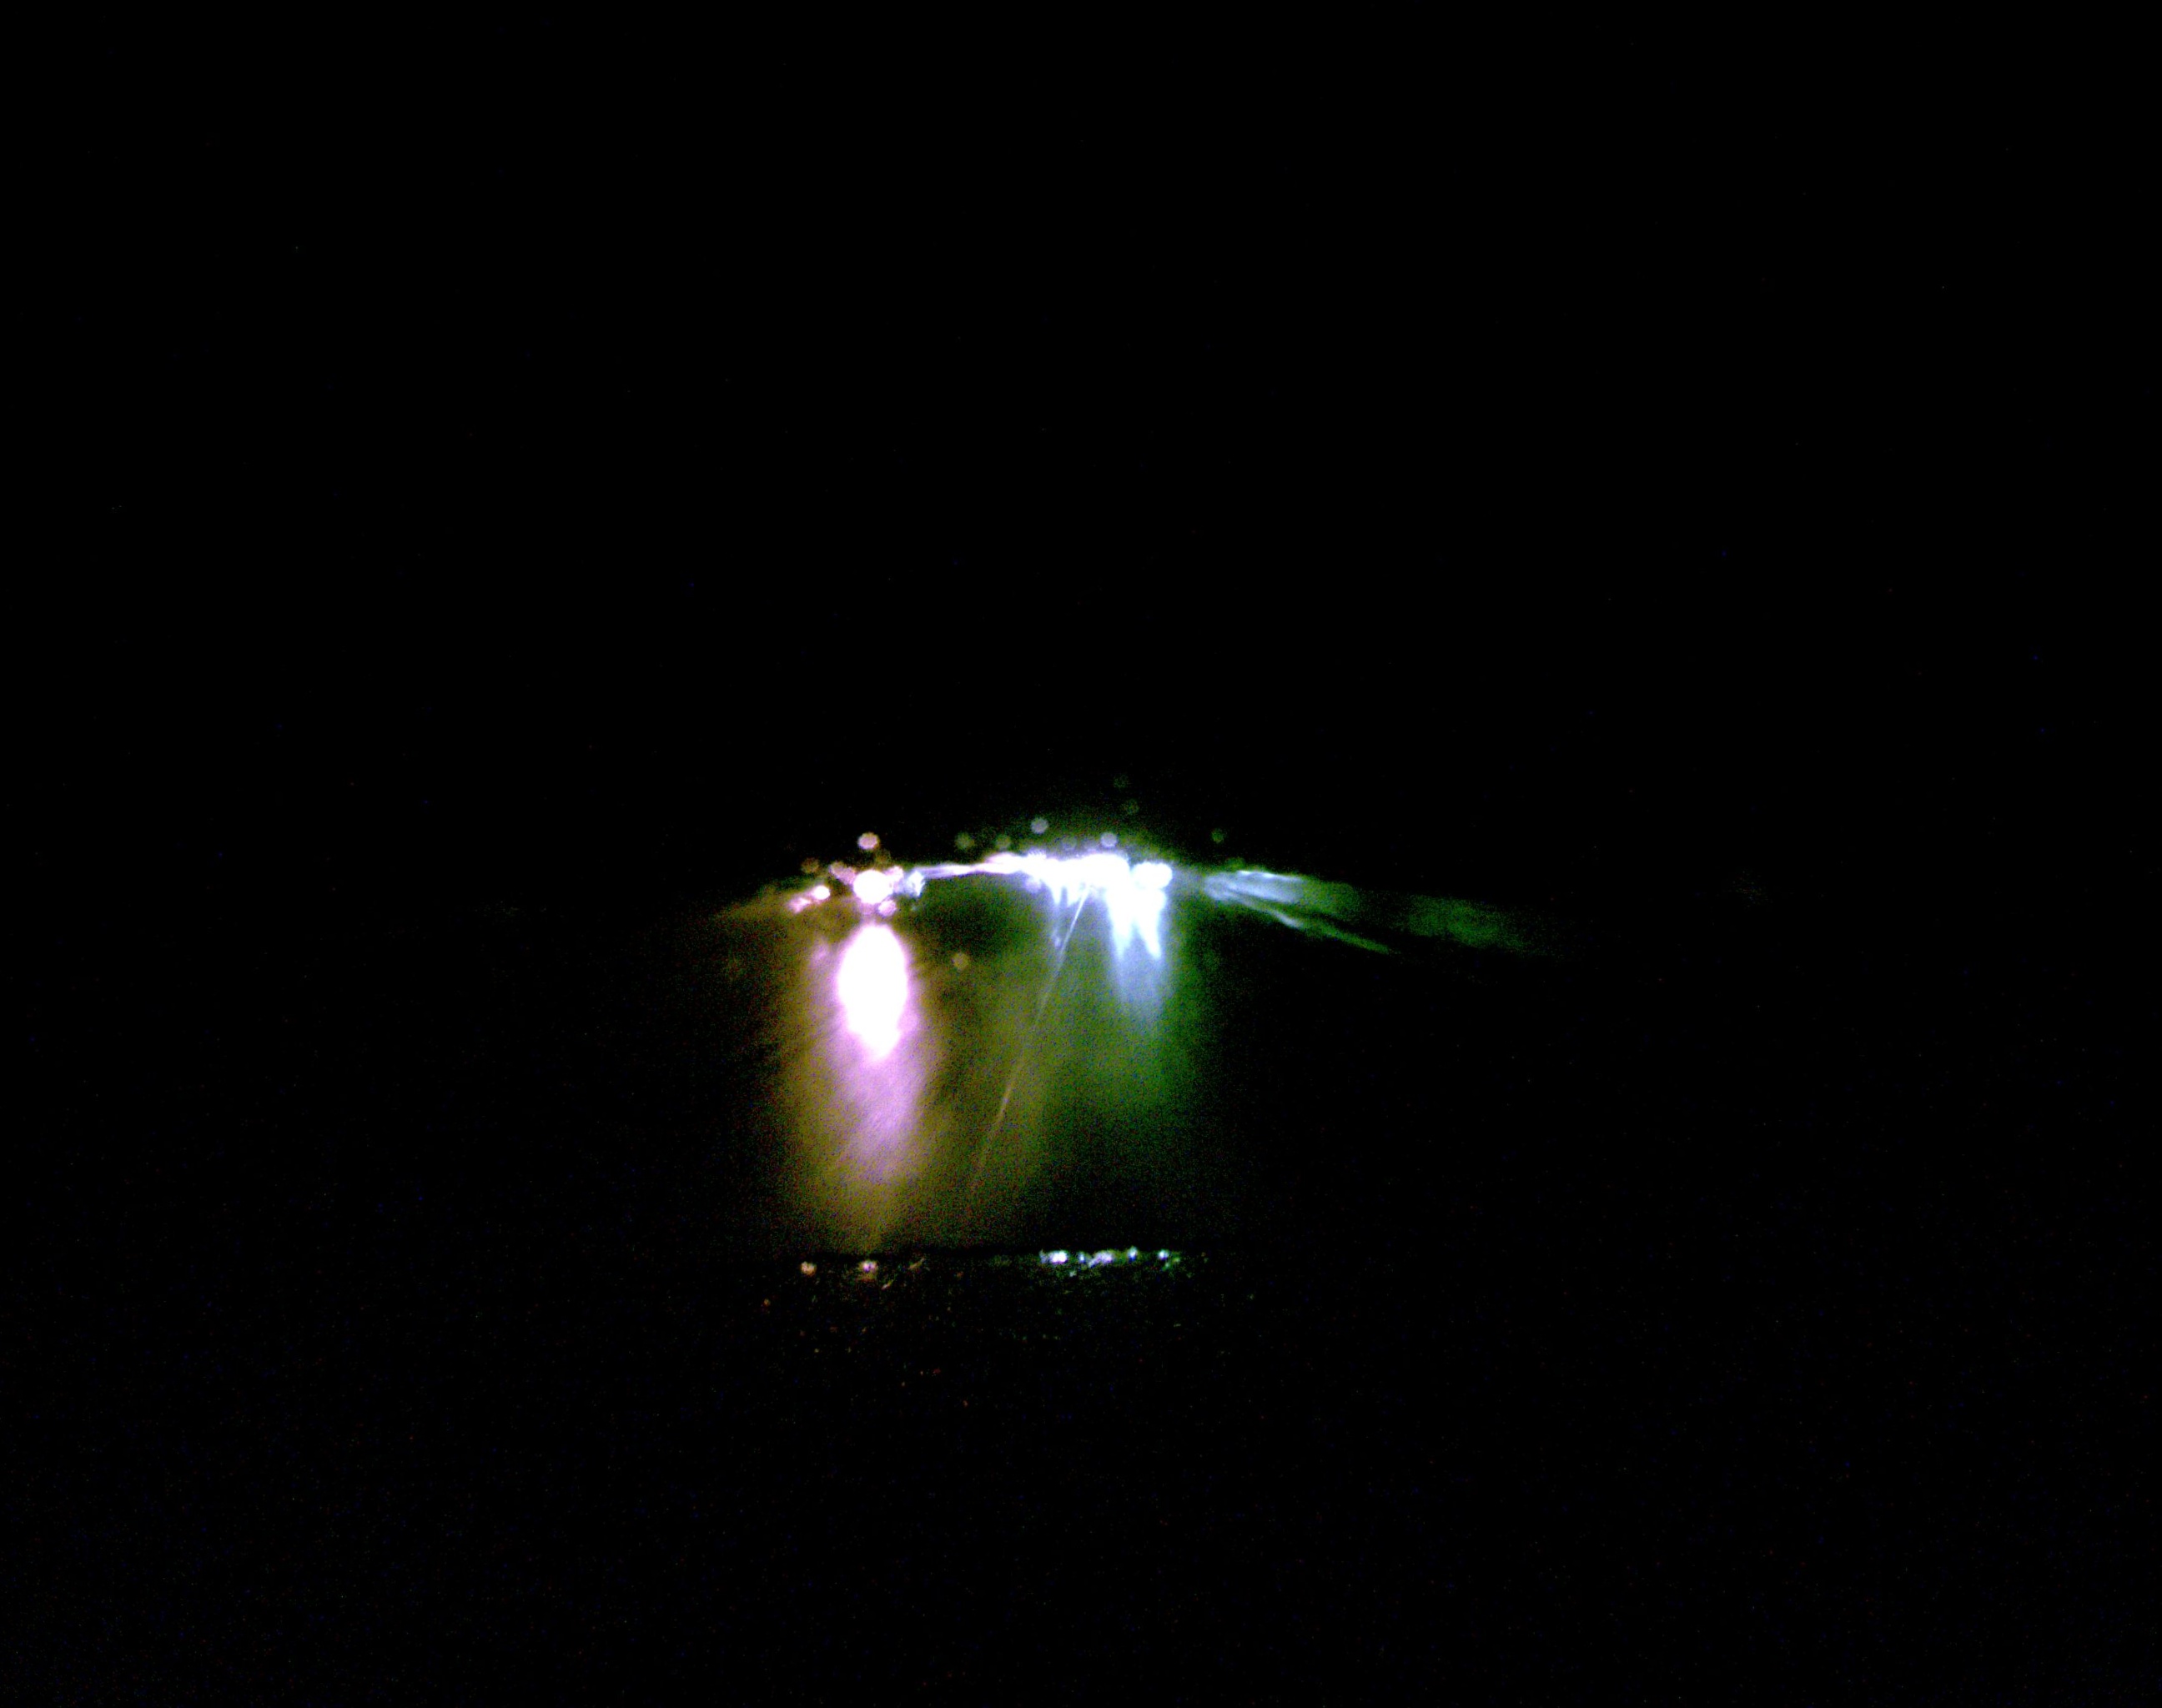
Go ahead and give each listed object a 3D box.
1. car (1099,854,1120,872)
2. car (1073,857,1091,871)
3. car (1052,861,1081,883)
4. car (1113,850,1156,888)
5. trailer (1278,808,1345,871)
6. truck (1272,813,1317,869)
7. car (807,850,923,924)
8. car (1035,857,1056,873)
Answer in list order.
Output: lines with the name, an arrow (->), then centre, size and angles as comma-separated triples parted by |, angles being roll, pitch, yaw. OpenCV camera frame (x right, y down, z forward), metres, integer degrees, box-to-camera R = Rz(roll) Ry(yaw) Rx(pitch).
car -> 2.950, 0.875, 77.254 | 1.882, 1.654, 4.001 | -3, 0, 5
car -> 0.147, 1.287, 95.789 | 1.882, 1.654, 4.001 | -3, 0, 4
car -> -1.130, 1.430, 61.250 | 1.882, 1.654, 4.002 | -3, 0, 5
car -> 2.618, 0.683, 36.457 | 1.882, 1.654, 4.002 | -3, 0, 5
trailer -> 19.222, -1.094, 64.086 | 2.411, 4.795, 10.170 | -3, 0, 0
truck -> 19.251, -1.124, 68.878 | 2.432, 4.783, 5.387 | -3, 0, 0
car -> -6.034, 0.853, 21.838 | 1.832, 1.835, 4.699 | -3, 0, 1
car -> -4.135, 1.259, 88.776 | 1.882, 1.654, 4.002 | -3, 0, 5
